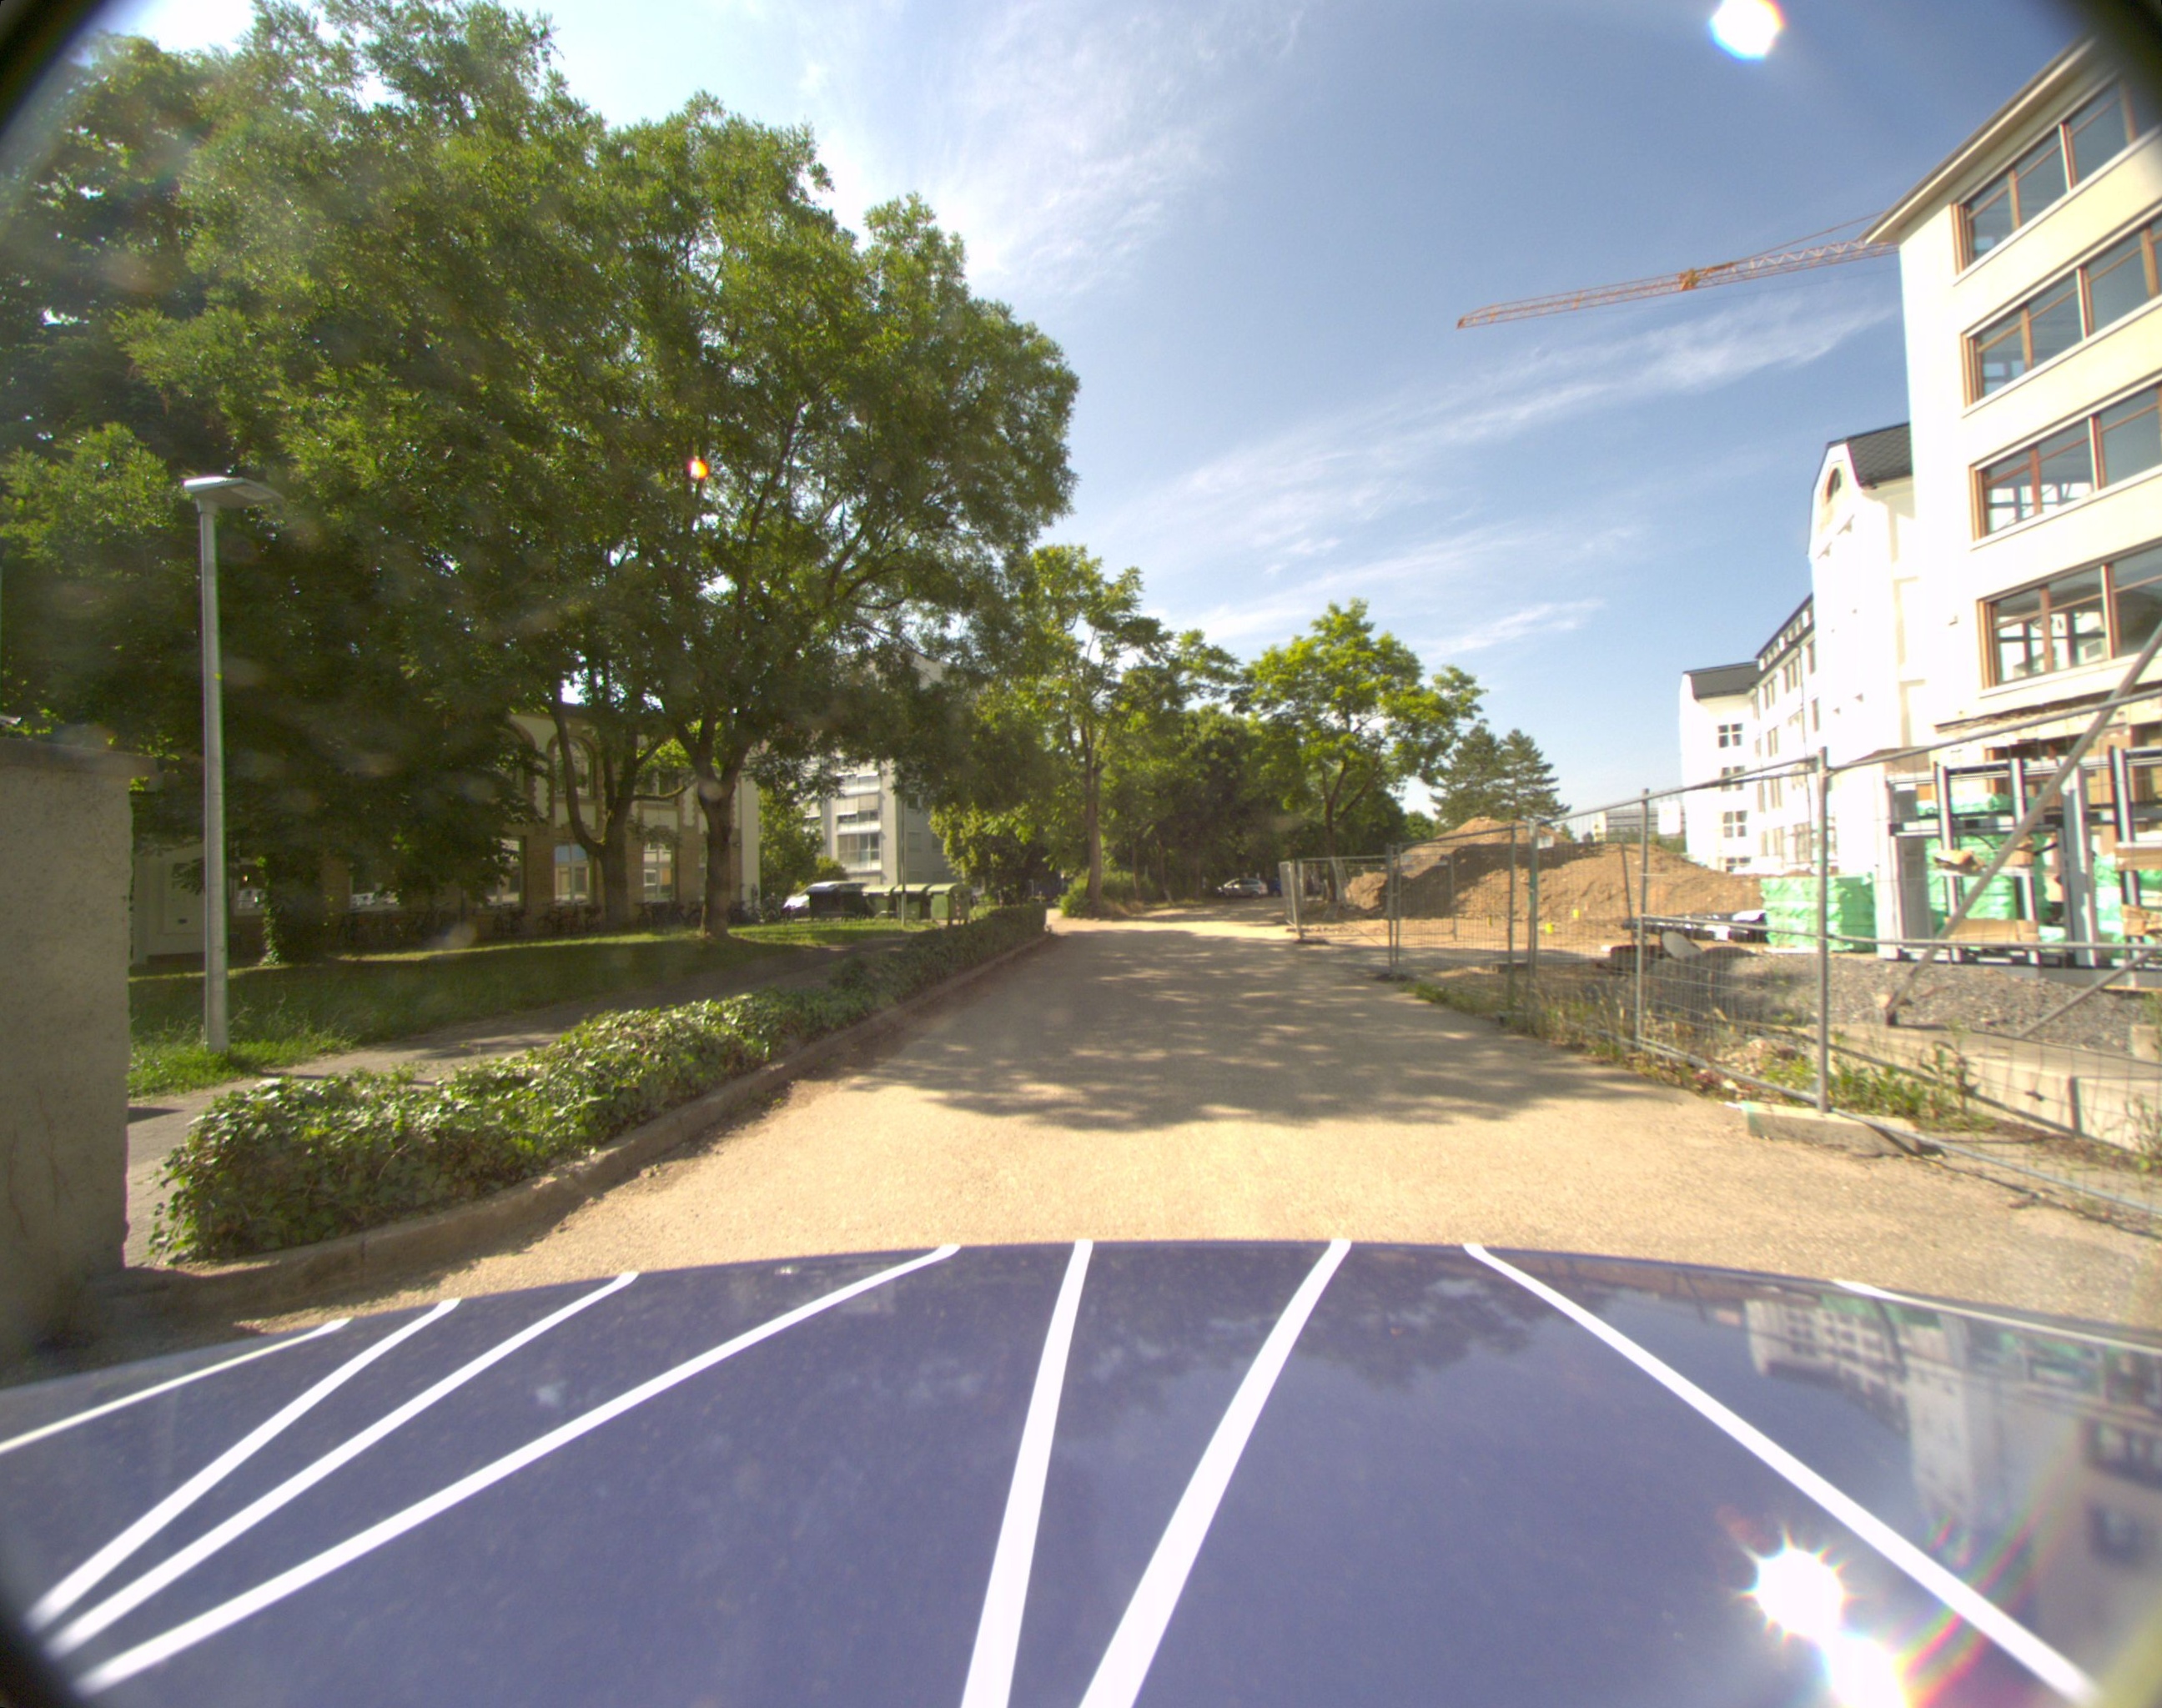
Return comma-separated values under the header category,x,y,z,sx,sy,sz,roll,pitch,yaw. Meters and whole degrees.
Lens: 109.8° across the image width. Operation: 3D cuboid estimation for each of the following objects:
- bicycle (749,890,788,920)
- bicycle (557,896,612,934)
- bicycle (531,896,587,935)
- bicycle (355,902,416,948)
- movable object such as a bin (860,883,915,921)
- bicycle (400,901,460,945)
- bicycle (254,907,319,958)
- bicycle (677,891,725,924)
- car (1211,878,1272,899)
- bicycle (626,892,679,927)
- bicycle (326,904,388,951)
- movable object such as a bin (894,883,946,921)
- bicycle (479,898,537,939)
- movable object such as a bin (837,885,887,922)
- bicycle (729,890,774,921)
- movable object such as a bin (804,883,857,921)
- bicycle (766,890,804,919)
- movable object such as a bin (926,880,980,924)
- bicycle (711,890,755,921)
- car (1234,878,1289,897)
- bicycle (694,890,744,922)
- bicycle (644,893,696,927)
category,x,y,z,sx,sy,sz,roll,pitch,yaw
bicycle,-12.432,2.028,30.207,1.800,1.154,0.508,-2,-2,34
bicycle,-16.014,1.946,24.487,2.097,1.154,0.589,-2,-2,30
bicycle,-16.371,1.919,23.797,2.097,1.154,0.589,-2,-2,30
bicycle,-18.595,1.888,20.311,2.097,1.154,0.589,-2,-2,30
movable object such as a bin,-7.069,1.750,27.799,1.498,1.353,1.218,-2,-2,27
bicycle,-18.073,1.908,21.088,2.097,1.154,0.589,-2,-2,30
bicycle,-19.120,1.858,18.277,2.097,1.154,0.589,-2,-2,30
bicycle,-13.895,1.940,27.776,1.917,1.154,0.589,-2,-2,30
car,11.867,2.545,56.104,3.990,1.498,2.004,-2,-2,25
bicycle,-14.823,1.925,26.271,2.097,1.154,0.589,-2,-2,30
bicycle,-18.799,1.886,19.708,2.097,1.154,0.589,-2,-2,30
movable object such as a bin,-5.734,1.713,27.122,1.352,1.292,1.218,-2,-2,27
bicycle,-17.086,1.914,22.633,2.097,1.154,0.589,-2,-2,30
movable object such as a bin,-8.269,1.857,28.718,1.349,1.341,1.218,-2,-2,27
bicycle,-12.890,2.005,29.722,1.846,1.154,0.615,-2,-2,30
movable object such as a bin,-9.682,1.840,29.406,1.432,1.401,1.252,-2,-2,26
bicycle,-11.921,2.023,30.598,1.940,1.154,0.558,-3,-2,40
movable object such as a bin,-4.438,1.654,26.368,1.388,1.453,1.218,-3,-2,42
bicycle,-13.277,1.957,28.949,1.909,1.154,0.495,-2,-2,30
car,14.452,2.700,60.840,3.990,1.433,2.004,-2,-2,25
bicycle,-13.582,1.944,28.462,2.097,1.154,0.589,-2,-2,30
bicycle,-14.536,1.960,26.880,2.097,1.154,0.589,-2,-2,30
